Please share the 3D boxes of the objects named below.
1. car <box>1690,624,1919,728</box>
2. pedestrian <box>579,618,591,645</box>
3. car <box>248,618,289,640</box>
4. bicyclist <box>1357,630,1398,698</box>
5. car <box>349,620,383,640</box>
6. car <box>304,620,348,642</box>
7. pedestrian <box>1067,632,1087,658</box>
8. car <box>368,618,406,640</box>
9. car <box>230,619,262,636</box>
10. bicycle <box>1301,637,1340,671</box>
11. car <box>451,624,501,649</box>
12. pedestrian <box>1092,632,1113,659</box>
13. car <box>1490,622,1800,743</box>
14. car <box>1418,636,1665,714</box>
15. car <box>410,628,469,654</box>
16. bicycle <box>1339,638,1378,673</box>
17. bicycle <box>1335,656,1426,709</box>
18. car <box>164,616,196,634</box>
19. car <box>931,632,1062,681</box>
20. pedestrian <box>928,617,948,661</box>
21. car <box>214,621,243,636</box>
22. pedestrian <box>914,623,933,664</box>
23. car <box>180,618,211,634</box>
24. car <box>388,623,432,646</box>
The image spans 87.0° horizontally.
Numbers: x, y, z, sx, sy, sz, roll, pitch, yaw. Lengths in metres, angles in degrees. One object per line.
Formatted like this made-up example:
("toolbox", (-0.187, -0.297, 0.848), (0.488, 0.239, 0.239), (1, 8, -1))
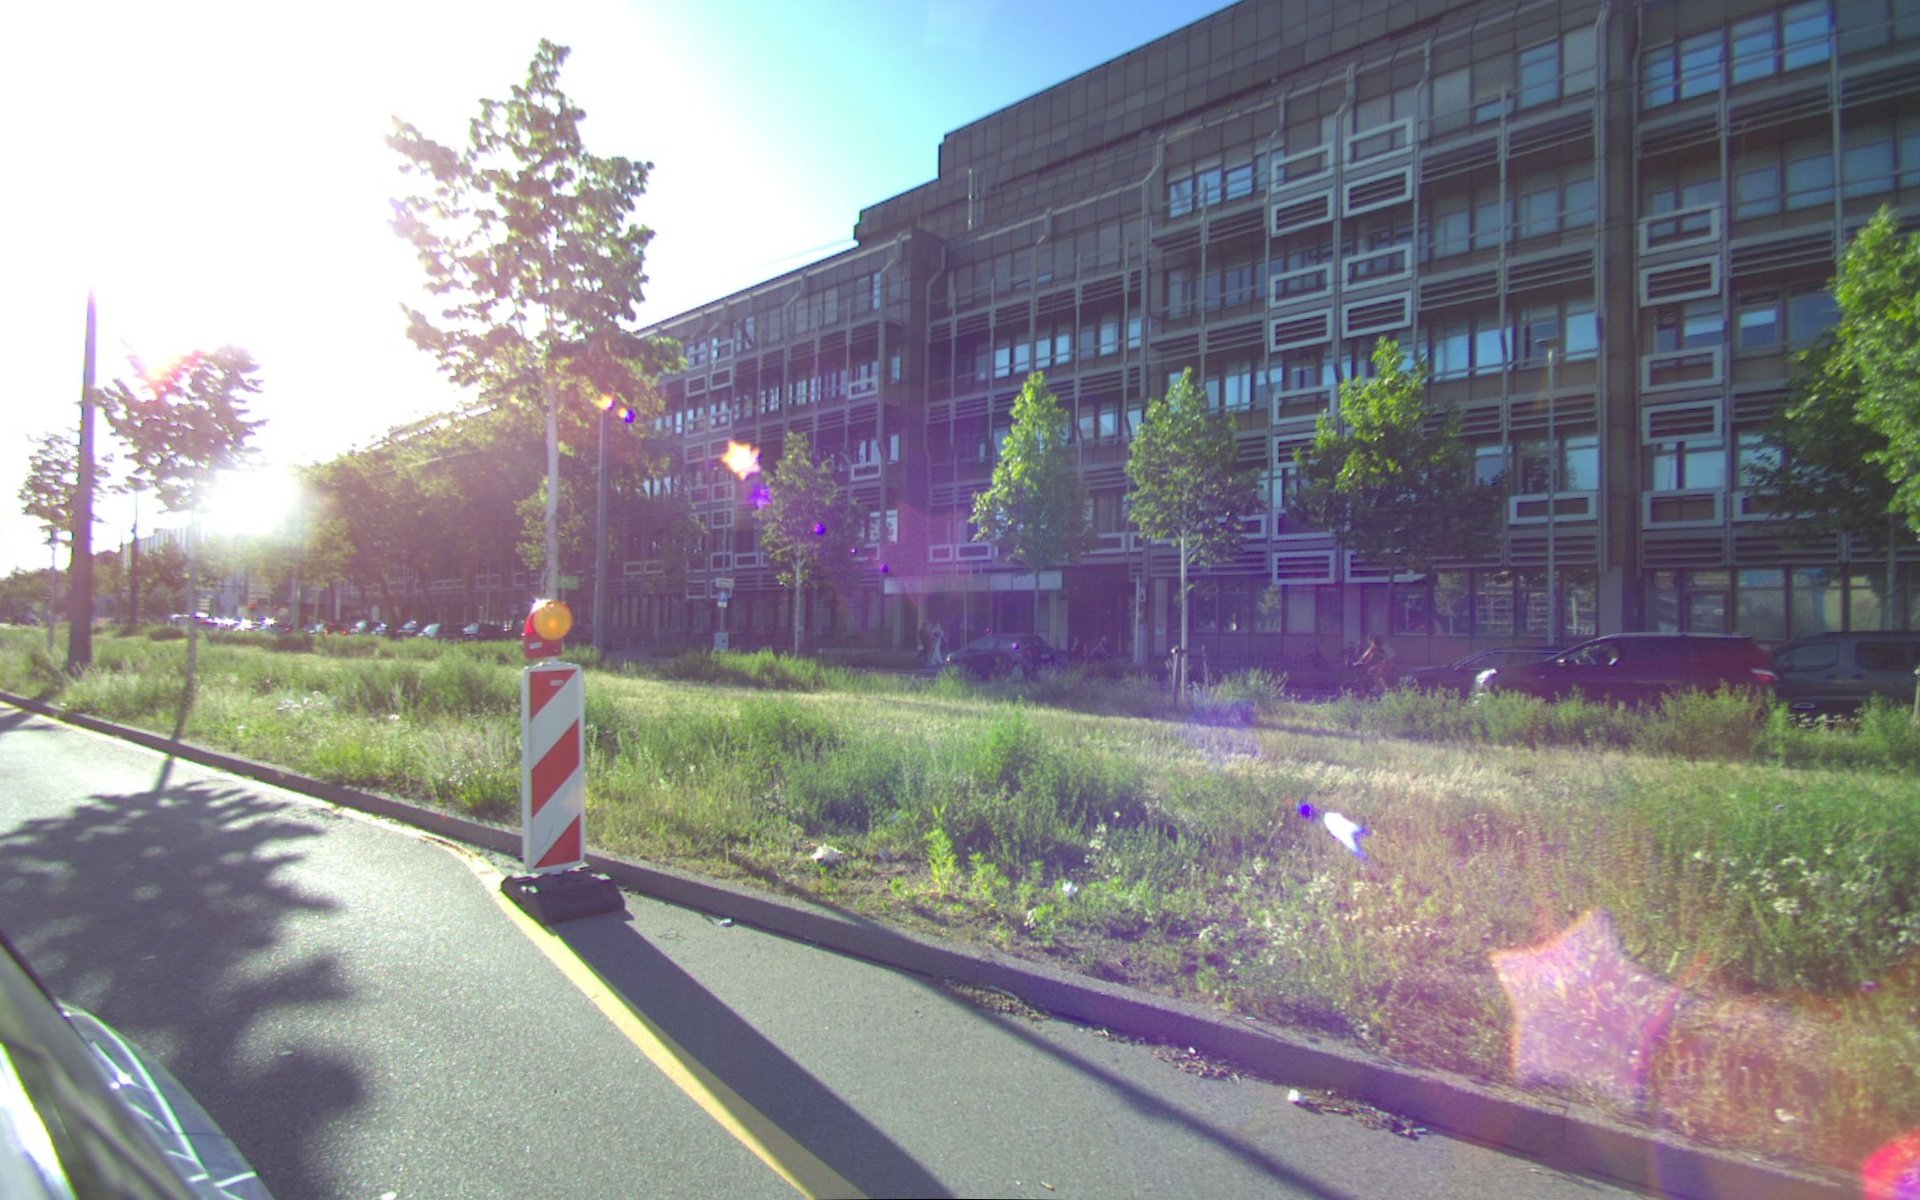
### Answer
("car", (16.480, 1.360, 19.019), (4.329, 1.785, 1.732), (-1, -1, 41))
("pedestrian", (-25.399, 2.141, 68.596), (0.639, 1.763, 0.477), (-1, -3, 43))
("car", (-49.962, 2.077, 73.119), (3.779, 1.507, 1.610), (-1, -3, 43))
("bicyclist", (9.256, 1.410, 22.430), (0.705, 1.468, 0.559), (-1, -4, 40))
("car", (-48.467, 2.448, 82.550), (3.264, 1.614, 1.372), (-1, -1, 41))
("car", (-46.656, 2.260, 74.472), (4.417, 1.507, 1.610), (-1, -3, 43))
("pedestrian", (4.456, 1.722, 38.654), (0.498, 0.993, 0.610), (-1, -3, 43))
("car", (-44.788, 2.245, 79.043), (3.525, 1.614, 1.491), (-1, -1, 41))
("car", (-63.948, 2.472, 90.618), (3.779, 1.507, 1.610), (-1, -3, 43))
("bicycle", (11.804, 1.768, 33.095), (1.853, 1.080, 0.425), (3, -3, -44))
("car", (-32.271, 2.402, 67.444), (3.629, 1.555, 1.704), (-1, -1, 41))
("pedestrian", (5.327, 1.712, 37.899), (0.498, 0.993, 0.610), (-1, -3, 43))
("car", (11.337, 1.272, 16.933), (4.117, 1.760, 1.711), (-1, -2, 39))
("car", (12.722, 1.573, 22.302), (4.500, 1.480, 1.712), (-1, -1, 40))
("car", (-29.705, 2.306, 57.727), (4.039, 1.397, 1.697), (-1, -2, 43))
("bicycle", (12.728, 1.768, 32.291), (1.906, 1.080, 0.425), (3, -3, -44))
("bicycle", (9.286, 1.809, 22.385), (1.769, 1.105, 0.559), (-1, -3, 40))
("car", (-75.463, 2.445, 97.882), (3.779, 1.694, 1.840), (-1, -3, 43))
("car", (1.130, 1.782, 32.523), (4.038, 1.397, 1.698), (-1, -1, 42))
("pedestrian", (-0.879, 1.530, 40.175), (0.536, 1.735, 0.514), (-1, -3, 44))
("car", (-70.513, 2.721, 97.553), (3.779, 1.390, 1.534), (-1, -3, 43))
("pedestrian", (-1.435, 1.707, 39.813), (0.536, 1.590, 0.514), (-1, -3, 44))
("car", (-68.546, 2.360, 90.684), (3.779, 1.390, 1.534), (-1, -3, 43))
("car", (-40.871, 2.554, 75.146), (3.629, 1.614, 1.704), (-1, -1, 41))
